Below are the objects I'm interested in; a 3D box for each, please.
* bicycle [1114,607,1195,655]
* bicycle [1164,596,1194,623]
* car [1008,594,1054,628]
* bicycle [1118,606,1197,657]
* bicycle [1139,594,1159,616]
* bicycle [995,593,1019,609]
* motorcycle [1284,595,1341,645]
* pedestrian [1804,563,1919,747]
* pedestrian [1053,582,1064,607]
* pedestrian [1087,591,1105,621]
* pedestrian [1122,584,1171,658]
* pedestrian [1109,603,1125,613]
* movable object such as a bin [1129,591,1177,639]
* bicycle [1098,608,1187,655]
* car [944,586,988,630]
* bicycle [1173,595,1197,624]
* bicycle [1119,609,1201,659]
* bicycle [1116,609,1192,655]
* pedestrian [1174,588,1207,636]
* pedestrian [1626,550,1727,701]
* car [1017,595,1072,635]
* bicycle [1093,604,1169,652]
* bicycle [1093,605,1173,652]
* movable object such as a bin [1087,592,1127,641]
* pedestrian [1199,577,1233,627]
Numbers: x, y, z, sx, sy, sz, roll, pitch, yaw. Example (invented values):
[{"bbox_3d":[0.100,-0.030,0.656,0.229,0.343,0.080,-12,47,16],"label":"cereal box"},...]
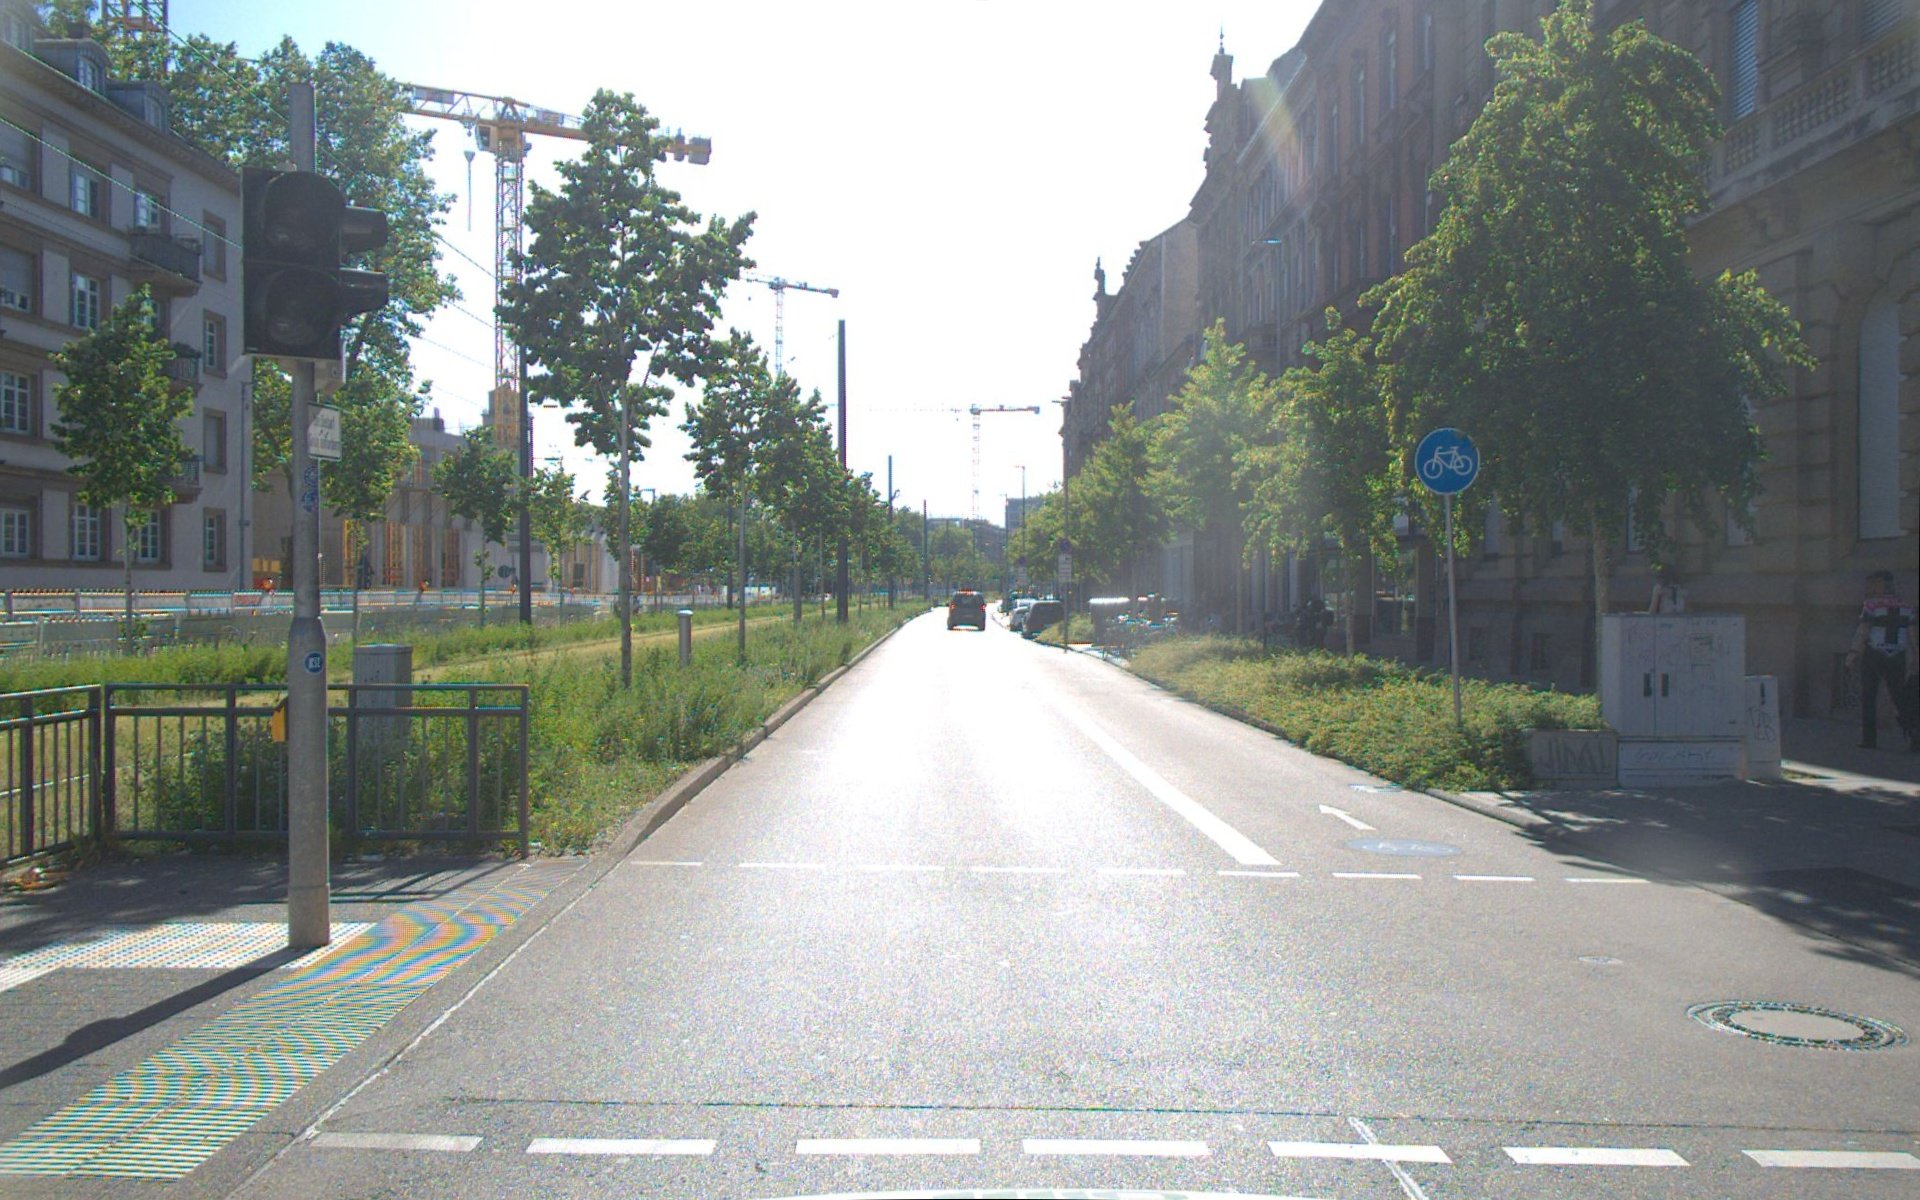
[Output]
[{"bbox_3d":[4.864,0.769,41.483,1.938,1.128,0.435,-2,0,-4],"label":"bicycle"},{"bbox_3d":[9.650,0.394,73.013,0.858,1.124,2.180,-3,0,-3],"label":"bicycle"},{"bbox_3d":[3.405,0.507,80.297,1.912,1.521,5.104,-2,0,0],"label":"car"},{"bbox_3d":[4.775,0.749,40.020,1.829,1.199,0.373,-1,-1,-4],"label":"bicycle"},{"bbox_3d":[9.615,0.255,84.147,0.706,1.109,2.198,-1,0,0],"label":"bicycle"},{"bbox_3d":[3.908,0.093,137.671,1.843,1.255,0.499,-3,0,-6],"label":"bicycle"},{"bbox_3d":[9.453,0.535,44.492,0.848,1.288,2.981,1,0,-1],"label":"motorcycle"},{"bbox_3d":[9.051,0.516,16.193,0.950,1.722,1.114,-2,0,0],"label":"pedestrian"},{"bbox_3d":[8.148,-0.455,136.850,0.801,2.049,1.046,1,-2,0],"label":"pedestrian"},{"bbox_3d":[8.278,0.360,100.819,0.976,1.762,0.866,1,-1,-1],"label":"pedestrian"},{"bbox_3d":[4.663,0.513,41.265,0.830,1.766,0.901,-4,0,29],"label":"pedestrian"},{"bbox_3d":[9.605,0.491,100.973,0.757,0.562,2.007,-1,1,-1],"label":"pedestrian"},{"bbox_3d":[6.412,0.503,54.929,1.345,1.521,1.749,-3,-1,0],"label":"movable object such as a bin"},{"bbox_3d":[4.705,0.802,42.646,2.247,1.121,0.484,-2,0,-15],"label":"bicycle"},{"bbox_3d":[0.262,0.406,80.889,1.954,2.049,3.998,1,0,-3],"label":"car"},{"bbox_3d":[9.506,0.408,69.945,0.732,1.222,1.800,-1,0,-1],"label":"bicycle"},{"bbox_3d":[4.800,0.807,39.665,1.855,1.128,0.517,-2,0,-6],"label":"bicycle"},{"bbox_3d":[4.826,0.801,41.139,1.780,1.074,0.571,-2,0,-7],"label":"bicycle"},{"bbox_3d":[7.877,0.396,56.611,0.931,1.594,1.080,-1,1,-1],"label":"pedestrian"},{"bbox_3d":[9.613,0.336,22.230,0.871,1.953,1.098,-2,0,4],"label":"pedestrian"},{"bbox_3d":[3.401,0.599,67.589,1.730,1.502,4.446,-2,0,-3],"label":"car"},{"bbox_3d":[4.591,0.751,44.480,1.937,1.143,0.481,-4,1,-6],"label":"bicycle"},{"bbox_3d":[4.602,0.746,44.073,2.004,1.126,0.610,-3,0,-7],"label":"bicycle"},{"bbox_3d":[4.849,0.532,54.732,1.244,1.488,1.645,1,2,4],"label":"movable object such as a bin"},{"bbox_3d":[8.739,0.051,56.519,0.951,1.667,0.992,-1,1,-1],"label":"pedestrian"}]
